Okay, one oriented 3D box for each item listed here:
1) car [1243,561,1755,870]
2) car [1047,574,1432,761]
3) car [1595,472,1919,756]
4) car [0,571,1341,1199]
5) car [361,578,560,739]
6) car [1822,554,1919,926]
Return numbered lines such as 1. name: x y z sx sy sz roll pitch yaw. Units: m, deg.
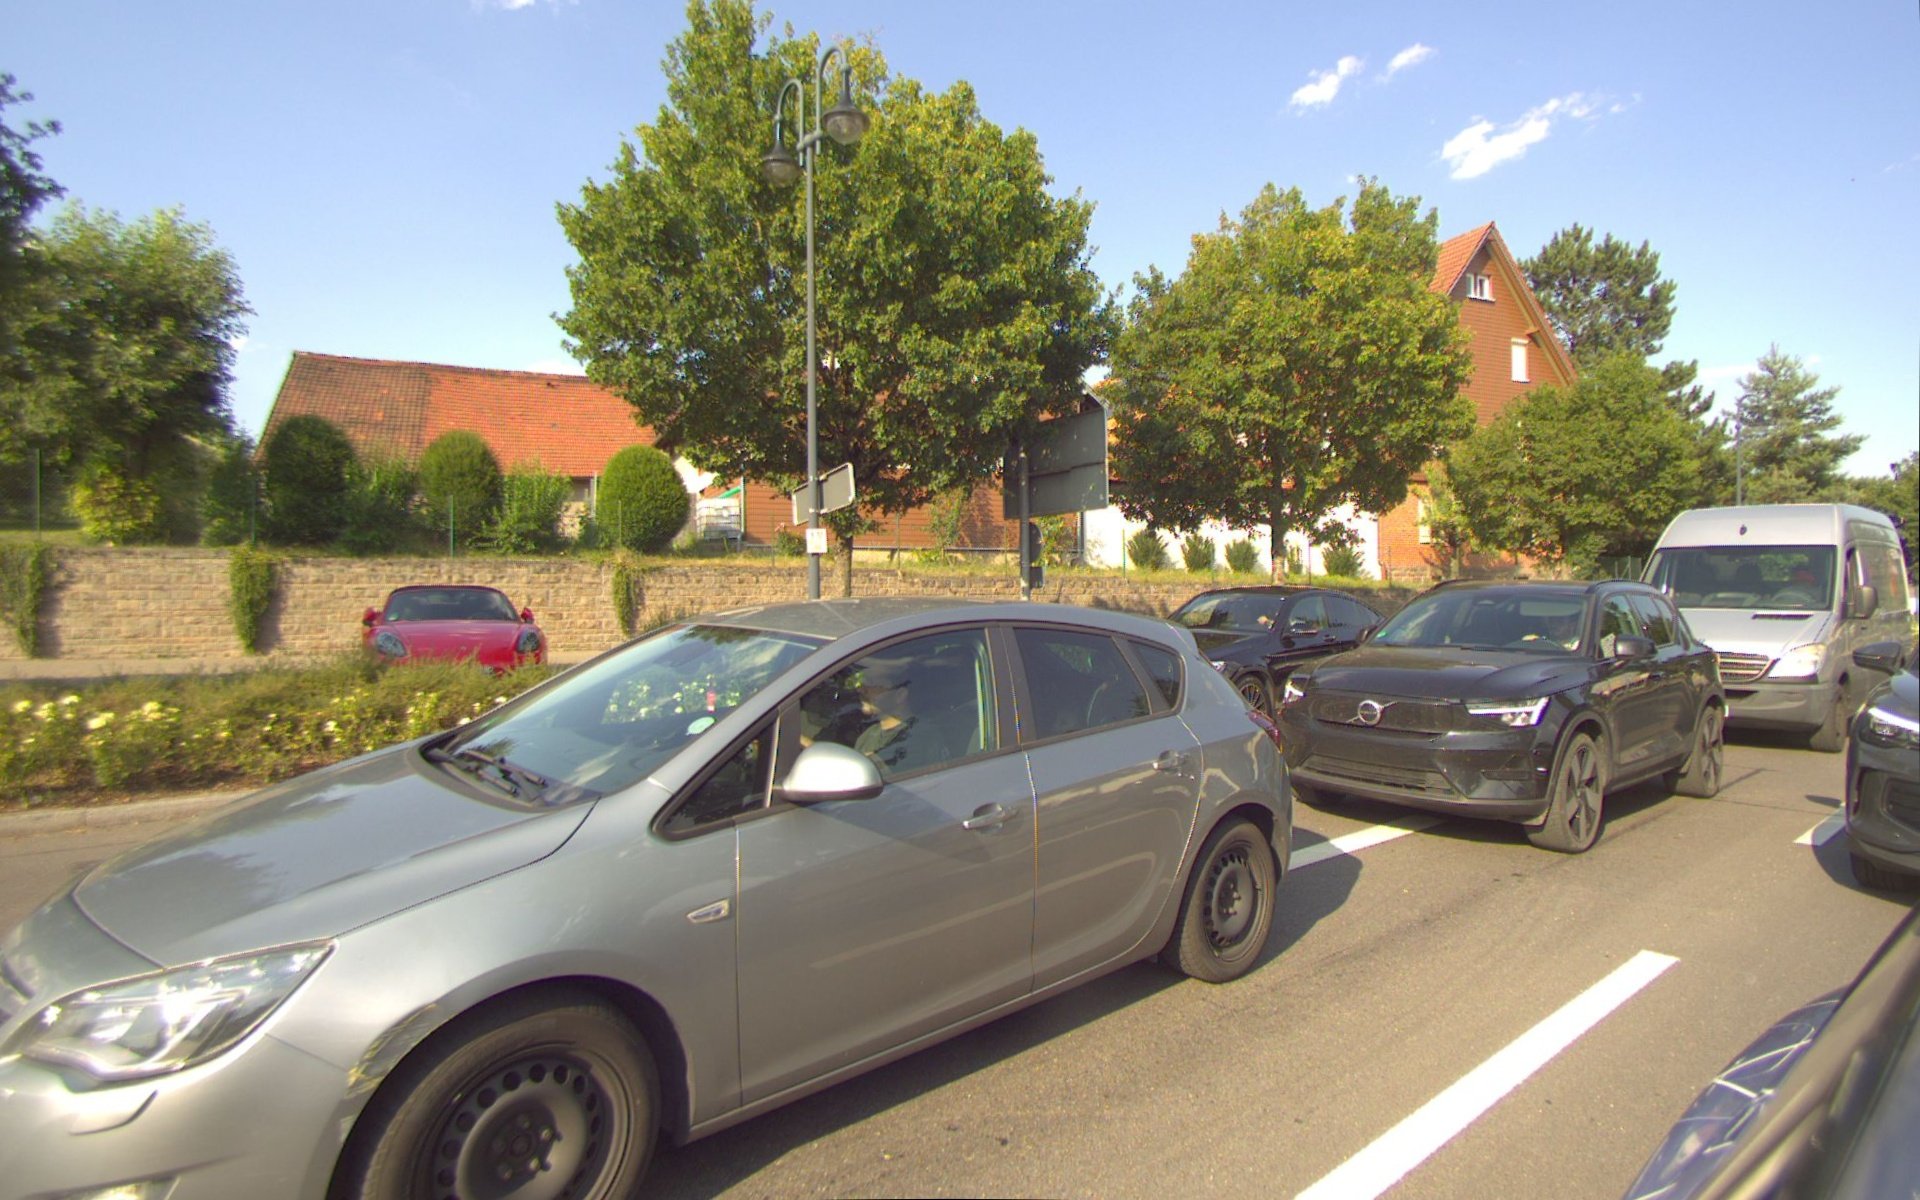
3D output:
1. car: 4.103 0.576 7.402 4.242 1.629 1.844 0 2 -40
2. car: 3.187 0.575 11.044 4.483 1.628 1.766 0 2 -39
3. car: 9.711 0.095 11.955 5.938 2.601 1.992 0 1 -40
4. car: -0.565 0.674 3.514 4.244 1.471 1.764 0 2 -42
5. car: -5.903 0.538 11.706 1.743 1.510 4.156 0 0 -31
6. car: 6.207 0.626 5.330 4.242 1.629 1.844 0 2 -40
